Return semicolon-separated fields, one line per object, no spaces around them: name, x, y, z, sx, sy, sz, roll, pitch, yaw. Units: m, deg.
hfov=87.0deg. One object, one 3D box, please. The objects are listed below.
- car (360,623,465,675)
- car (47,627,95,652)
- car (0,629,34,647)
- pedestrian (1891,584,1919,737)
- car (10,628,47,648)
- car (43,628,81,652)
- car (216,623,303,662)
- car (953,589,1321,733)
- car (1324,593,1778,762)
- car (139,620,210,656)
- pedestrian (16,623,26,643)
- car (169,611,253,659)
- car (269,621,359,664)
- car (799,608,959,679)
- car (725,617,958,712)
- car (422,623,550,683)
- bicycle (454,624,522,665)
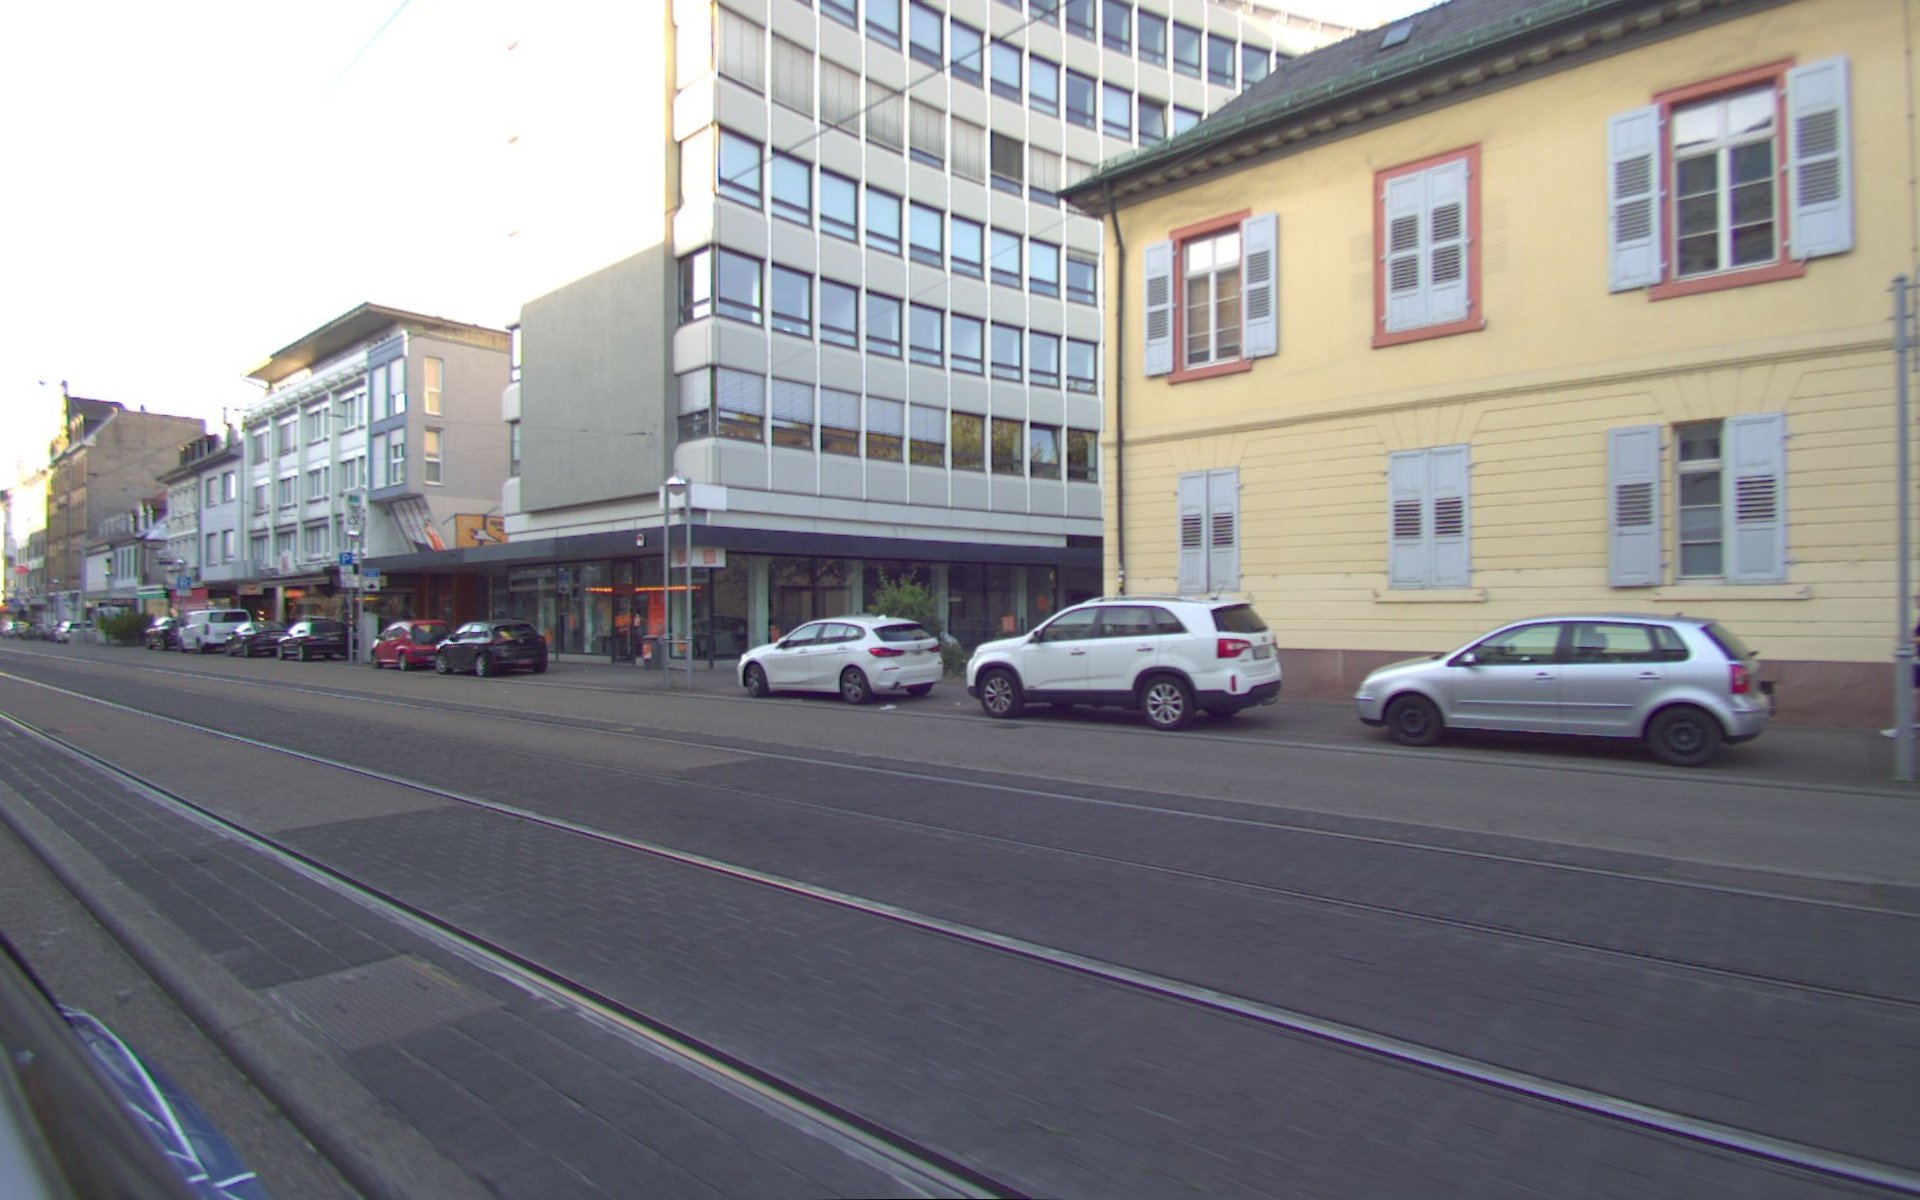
car;-16.665;1.451;30.742;3.590;1.445;1.674;-2;-1;41
car;-60.691;2.655;69.042;4.620;1.568;1.872;-1;1;41
car;-85.111;3.389;91.046;4.399;1.431;1.974;-1;0;39
pedestrian;10.246;0.615;10.473;0.877;1.553;0.791;-1;0;43
car;-76.212;3.085;82.758;3.814;1.504;1.822;-1;1;41
car;-64.503;2.830;72.677;3.469;1.582;1.638;-1;1;42
car;-28.840;1.712;41.610;4.568;1.437;1.853;-1;1;41
car;2.347;0.767;14.198;4.756;1.673;1.868;-2;0;39
car;6.282;0.743;11.006;3.997;1.485;1.730;-2;0;41
car;-40.135;1.889;51.667;4.586;1.710;1.973;-1;1;41
pedestrian;-96.943;3.396;104.460;0.738;2.029;1.049;-2;1;-45
car;-34.503;1.571;46.559;5.096;2.029;1.944;-1;1;40
car;-23.777;1.522;37.180;4.090;1.472;1.771;-2;-2;42
car;-2.016;1.049;26.127;1.912;1.564;3.948;-1;1;39
car;-2.222;1.089;18.286;4.280;1.464;1.703;-2;0;41
car;-12.897;1.399;27.443;3.963;1.436;1.674;-2;0;41
bicycle;-17.047;1.586;36.561;0.875;1.350;2.025;-1;1;41
